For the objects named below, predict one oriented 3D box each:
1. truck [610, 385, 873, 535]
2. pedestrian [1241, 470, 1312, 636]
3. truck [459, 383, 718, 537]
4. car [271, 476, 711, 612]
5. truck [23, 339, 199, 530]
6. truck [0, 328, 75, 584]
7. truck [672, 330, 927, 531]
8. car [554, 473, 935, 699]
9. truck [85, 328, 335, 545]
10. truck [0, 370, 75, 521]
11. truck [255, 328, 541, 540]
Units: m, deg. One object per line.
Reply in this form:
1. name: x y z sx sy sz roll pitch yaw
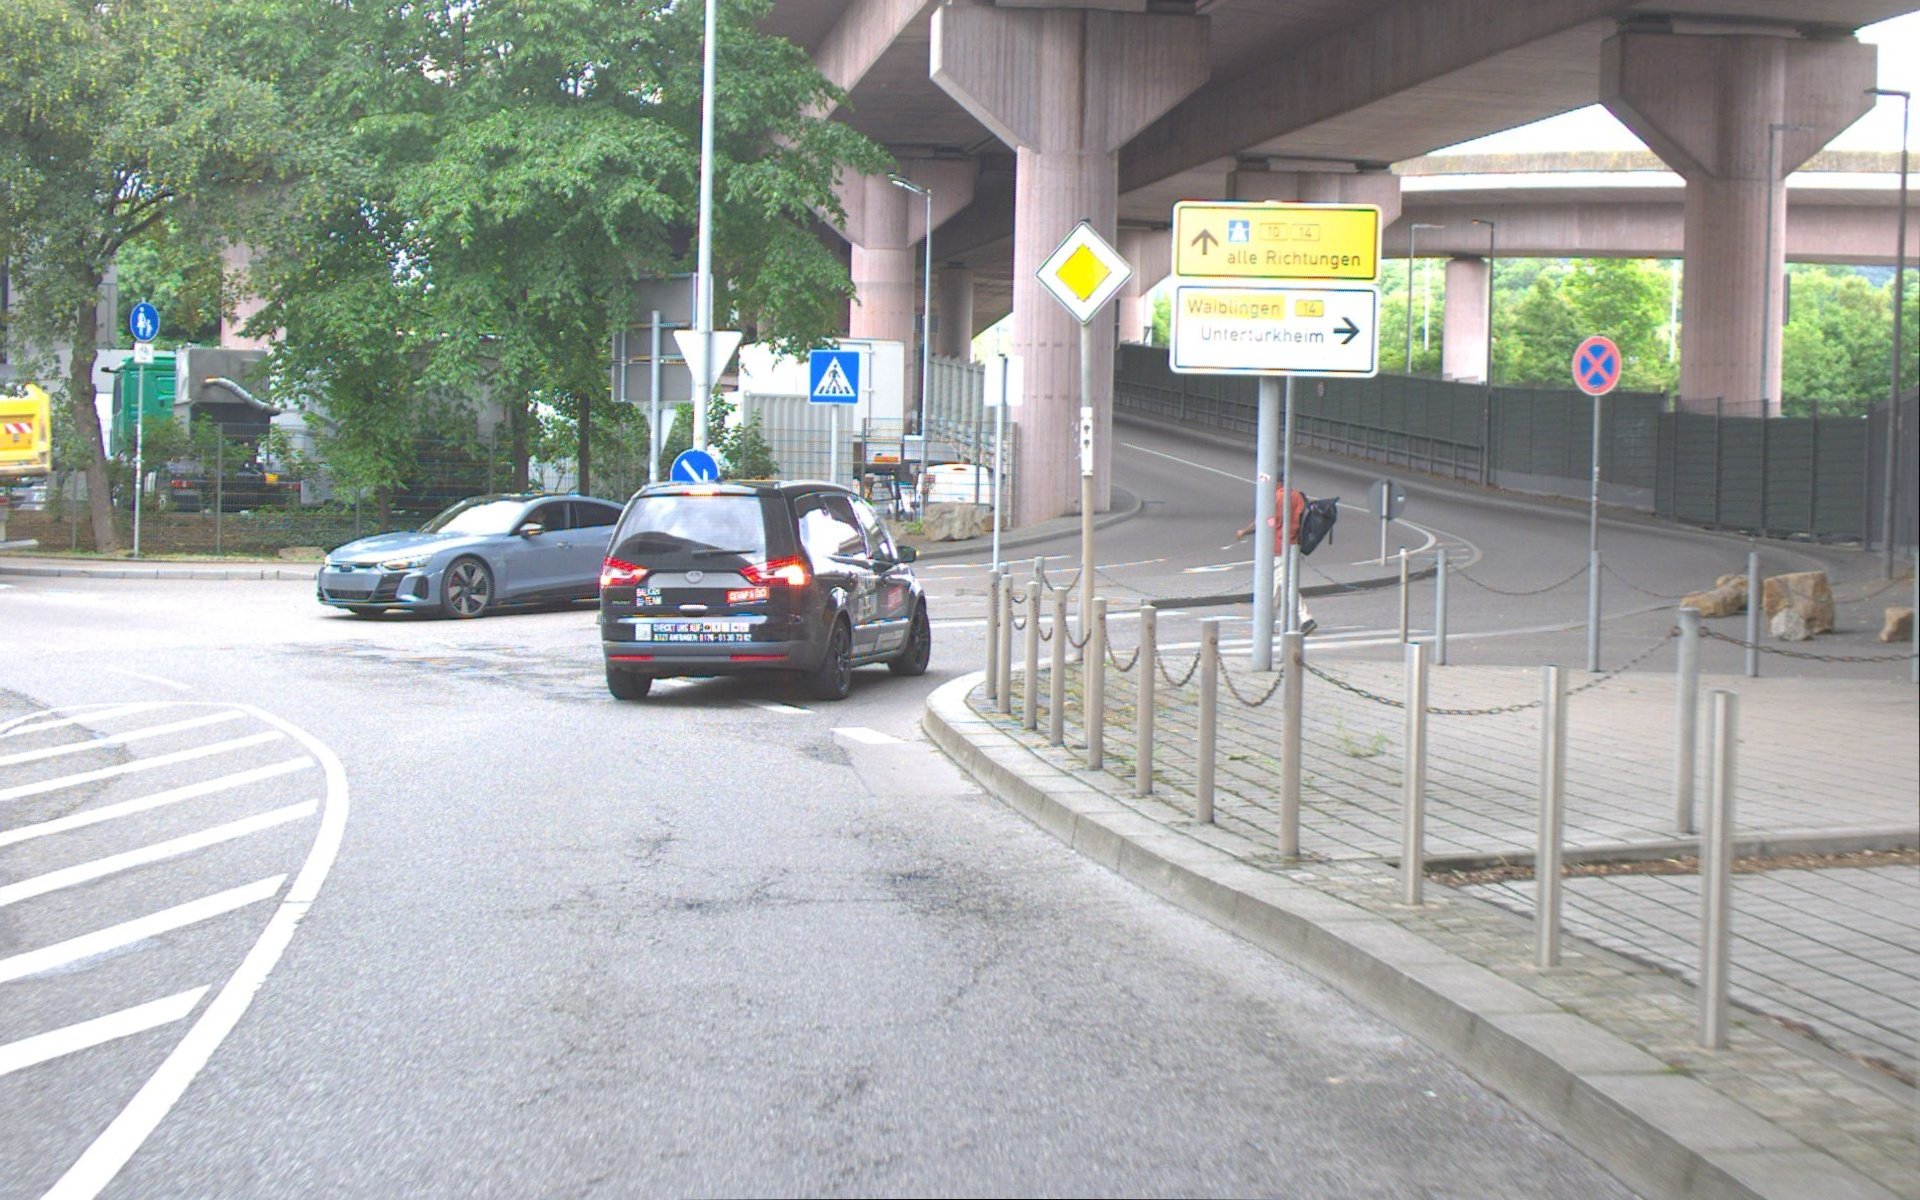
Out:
1. truck: -4.570 -2.943 70.509 2.915 2.888 6.560 -1 4 -28
2. pedestrian: 3.228 -0.489 35.063 0.536 1.670 0.558 -1 3 -19
3. truck: -7.513 -2.872 68.782 2.915 2.888 6.560 -1 4 -28
4. car: -5.450 -0.700 40.482 2.172 1.496 4.920 2 3 41
5. truck: -22.329 -4.407 90.091 3.202 4.763 8.051 -1 4 -23
6. truck: -16.742 -2.082 48.538 8.229 3.469 2.933 2 5 26
7. truck: -3.749 -3.895 77.721 3.065 4.284 8.051 -1 4 -24
8. car: -1.635 -0.173 27.911 1.994 1.673 4.559 0 2 11
9. truck: -14.610 -3.187 66.582 3.065 3.949 6.925 -2 4 -26
10. truck: -24.777 -3.955 86.077 3.055 3.606 7.917 -1 4 -30
11. truck: -11.042 -3.296 66.848 3.065 3.854 8.050 -1 4 -28
